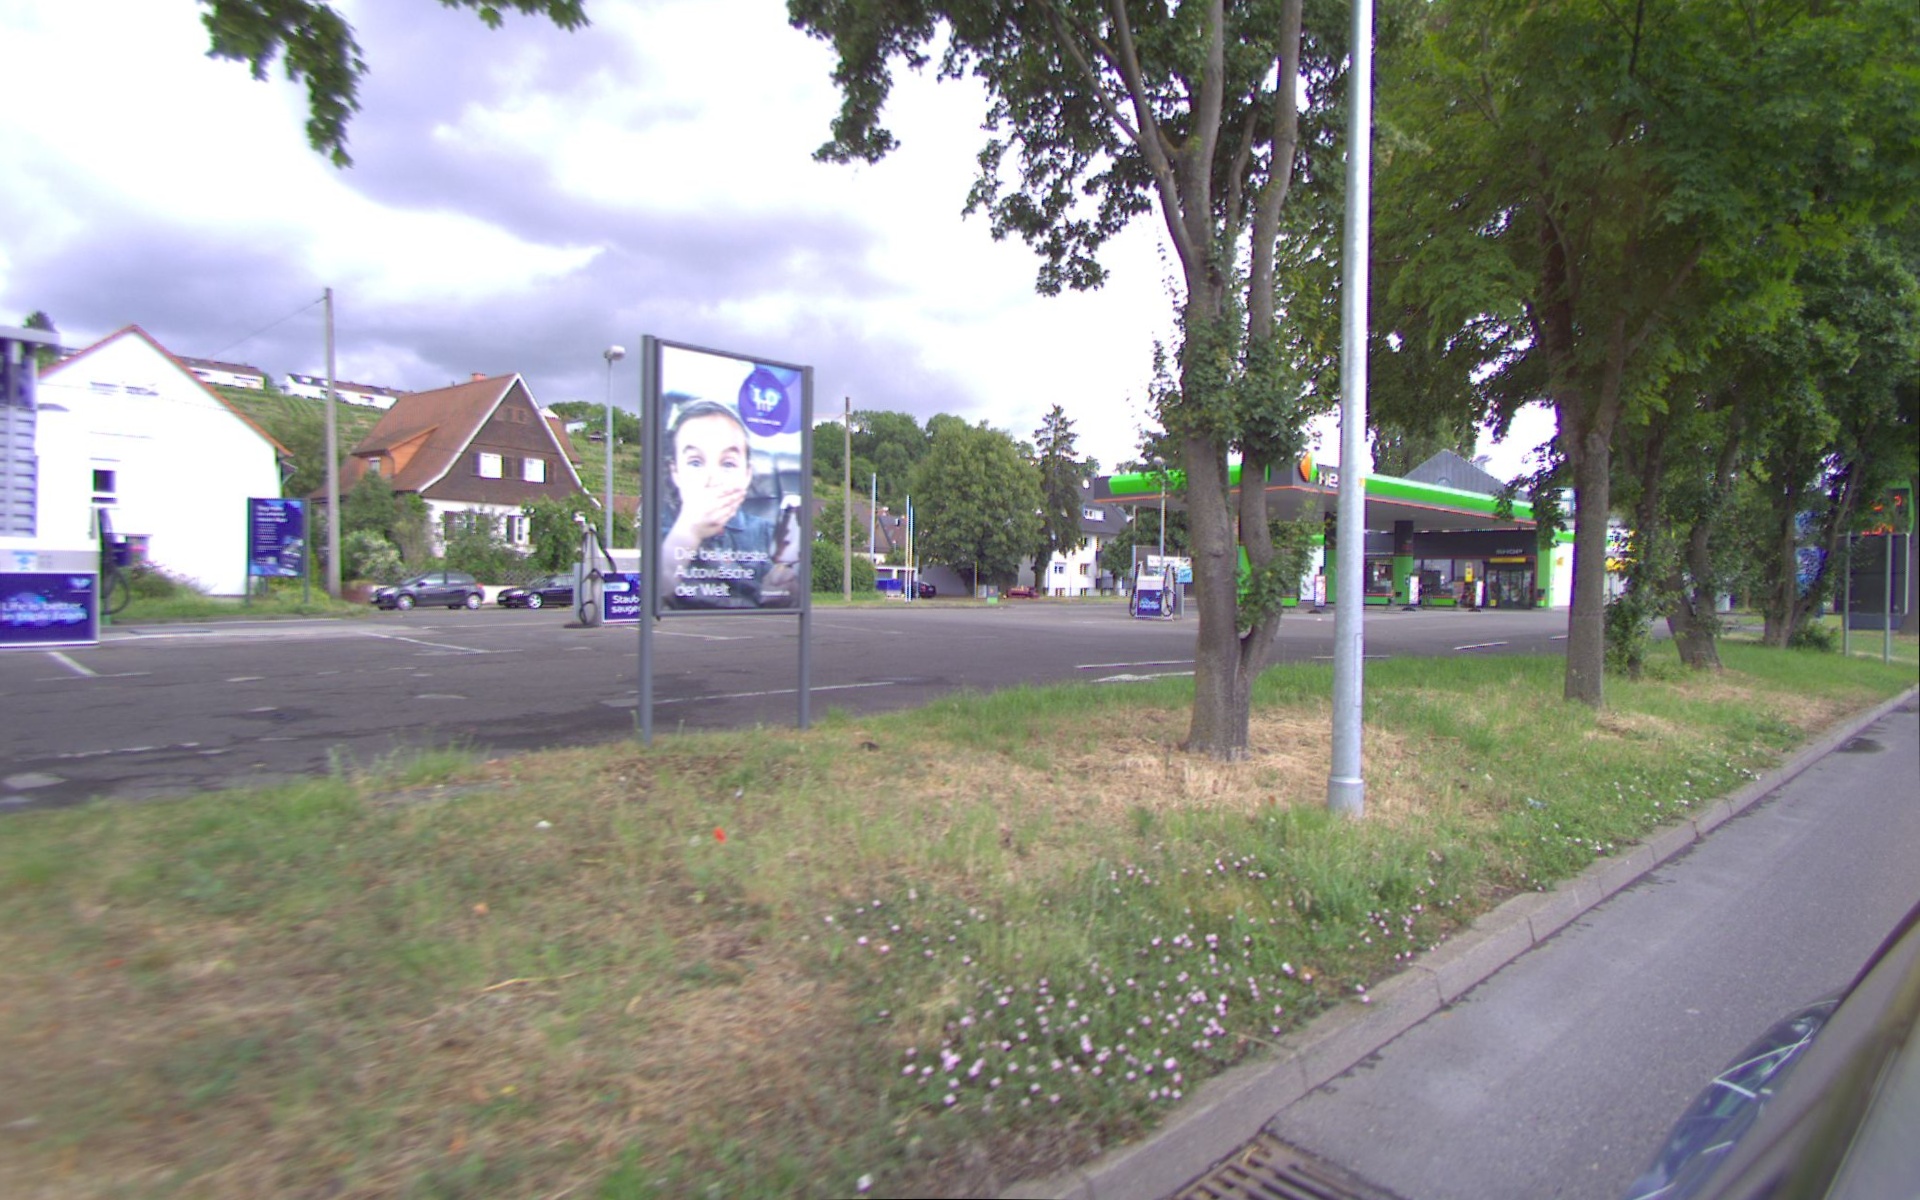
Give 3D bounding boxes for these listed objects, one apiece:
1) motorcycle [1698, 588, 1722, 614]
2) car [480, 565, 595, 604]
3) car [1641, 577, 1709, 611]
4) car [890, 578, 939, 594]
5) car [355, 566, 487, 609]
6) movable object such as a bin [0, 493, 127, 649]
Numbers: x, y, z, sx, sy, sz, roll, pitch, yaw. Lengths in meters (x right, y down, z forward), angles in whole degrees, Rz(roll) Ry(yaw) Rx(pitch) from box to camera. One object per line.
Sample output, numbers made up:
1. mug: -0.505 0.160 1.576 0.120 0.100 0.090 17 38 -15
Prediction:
1. motorcycle: 35.859 0.017 48.363 0.702 1.201 2.353 2 1 41
2. car: -17.450 -0.612 41.945 1.987 1.483 3.948 -1 -1 36
3. car: 38.235 -0.337 54.115 4.252 1.658 1.998 0 4 -42
4. car: -3.829 -1.183 83.969 3.987 1.234 1.814 2 2 44
5. car: -20.192 -0.443 38.063 1.987 1.483 3.948 -1 -1 36
6. movable object such as a bin: -11.469 -0.365 12.714 1.159 1.841 1.432 2 1 44
